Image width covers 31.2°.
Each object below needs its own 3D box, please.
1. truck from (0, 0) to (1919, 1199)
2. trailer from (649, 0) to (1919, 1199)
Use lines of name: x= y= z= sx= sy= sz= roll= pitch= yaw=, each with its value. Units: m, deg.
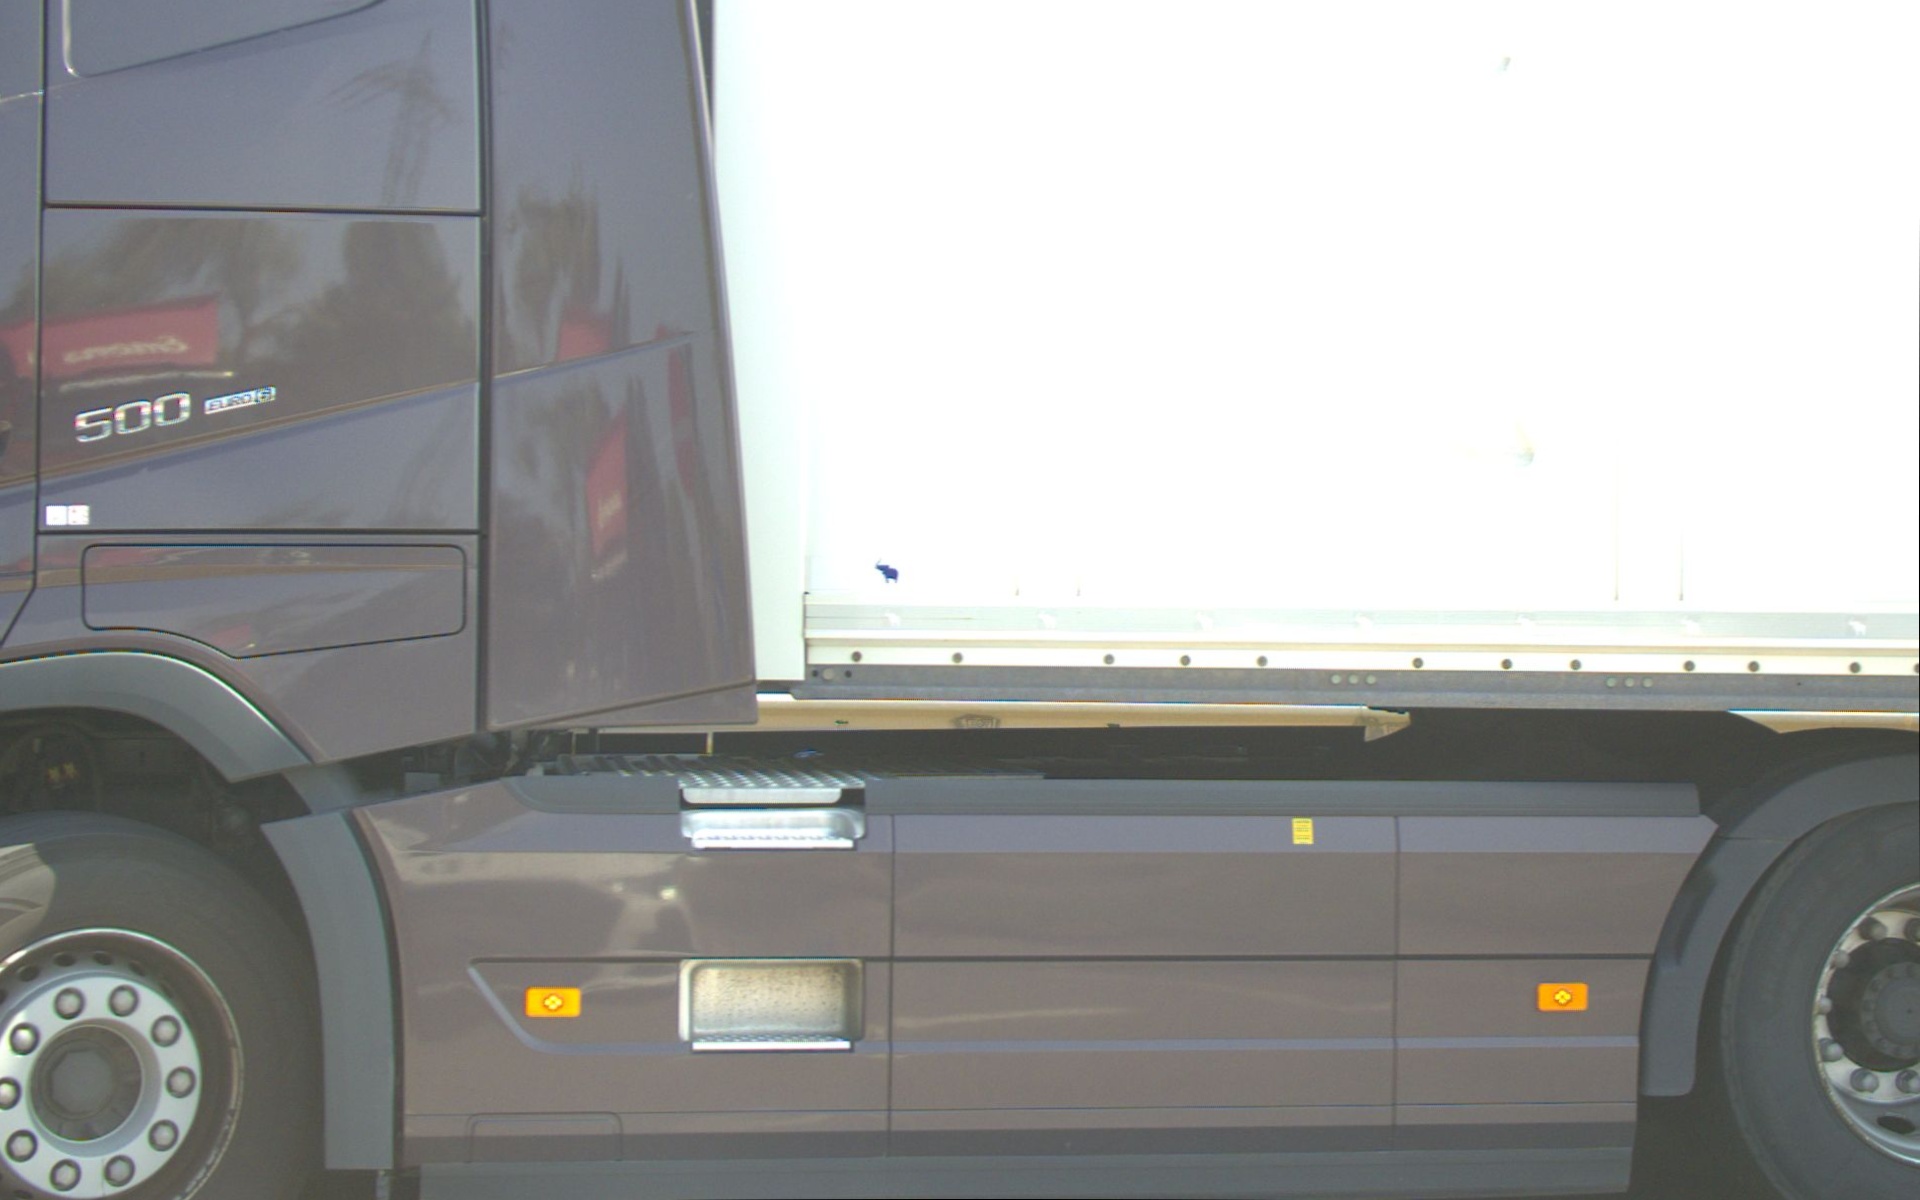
truck: x=-0.470 y=-0.756 z=7.812 sx=5.949 sy=4.159 sz=2.881 roll=1 pitch=1 yaw=-9
trailer: x=6.490 y=-0.698 z=7.189 sx=13.940 sy=4.151 sz=2.895 roll=0 pitch=1 yaw=9
